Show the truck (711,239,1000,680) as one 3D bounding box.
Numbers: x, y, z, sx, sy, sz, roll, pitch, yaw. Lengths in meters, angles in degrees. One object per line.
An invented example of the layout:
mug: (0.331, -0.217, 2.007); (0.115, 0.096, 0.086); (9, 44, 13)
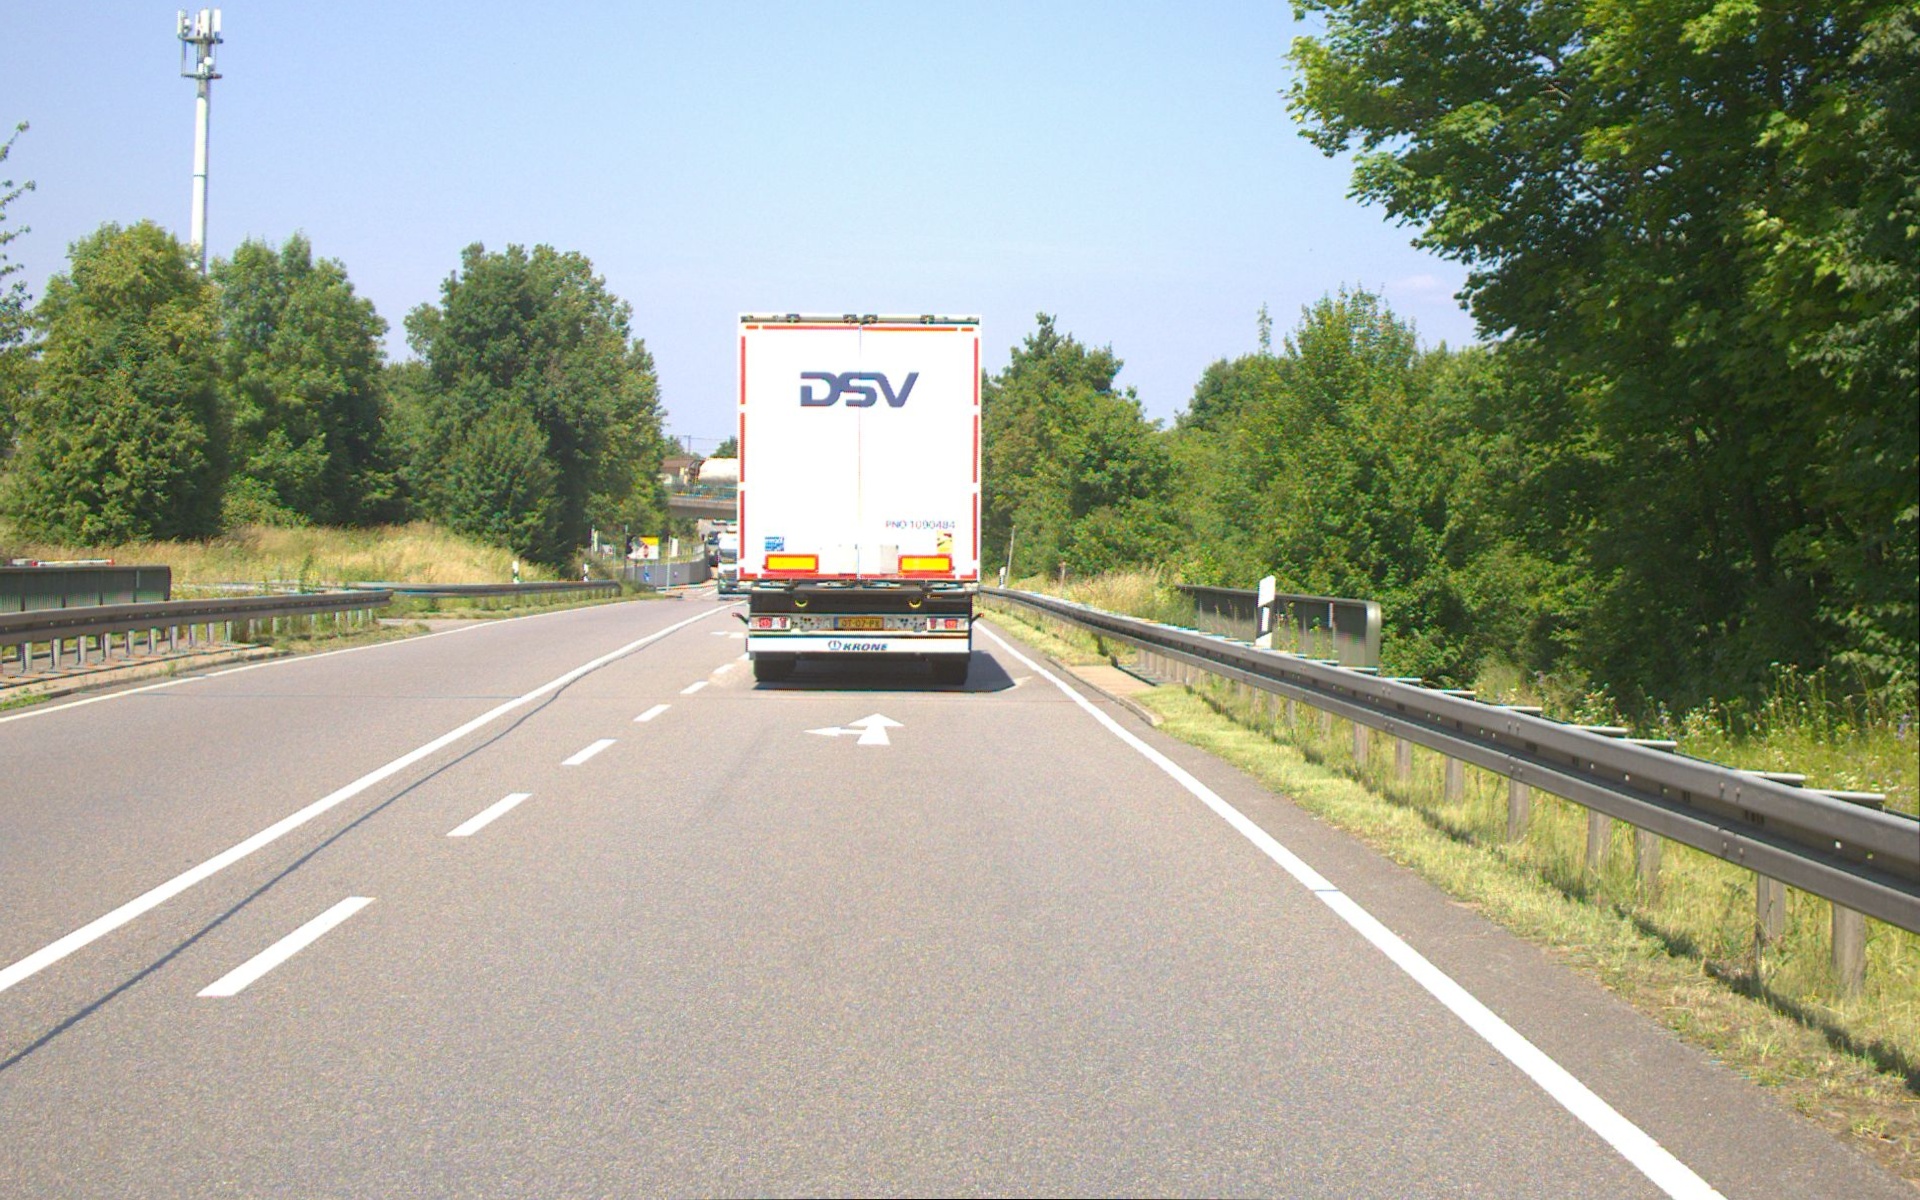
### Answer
truck: (-1.173, -1.488, 40.642); (2.950, 4.553, 9.863); (1, 0, -1)
